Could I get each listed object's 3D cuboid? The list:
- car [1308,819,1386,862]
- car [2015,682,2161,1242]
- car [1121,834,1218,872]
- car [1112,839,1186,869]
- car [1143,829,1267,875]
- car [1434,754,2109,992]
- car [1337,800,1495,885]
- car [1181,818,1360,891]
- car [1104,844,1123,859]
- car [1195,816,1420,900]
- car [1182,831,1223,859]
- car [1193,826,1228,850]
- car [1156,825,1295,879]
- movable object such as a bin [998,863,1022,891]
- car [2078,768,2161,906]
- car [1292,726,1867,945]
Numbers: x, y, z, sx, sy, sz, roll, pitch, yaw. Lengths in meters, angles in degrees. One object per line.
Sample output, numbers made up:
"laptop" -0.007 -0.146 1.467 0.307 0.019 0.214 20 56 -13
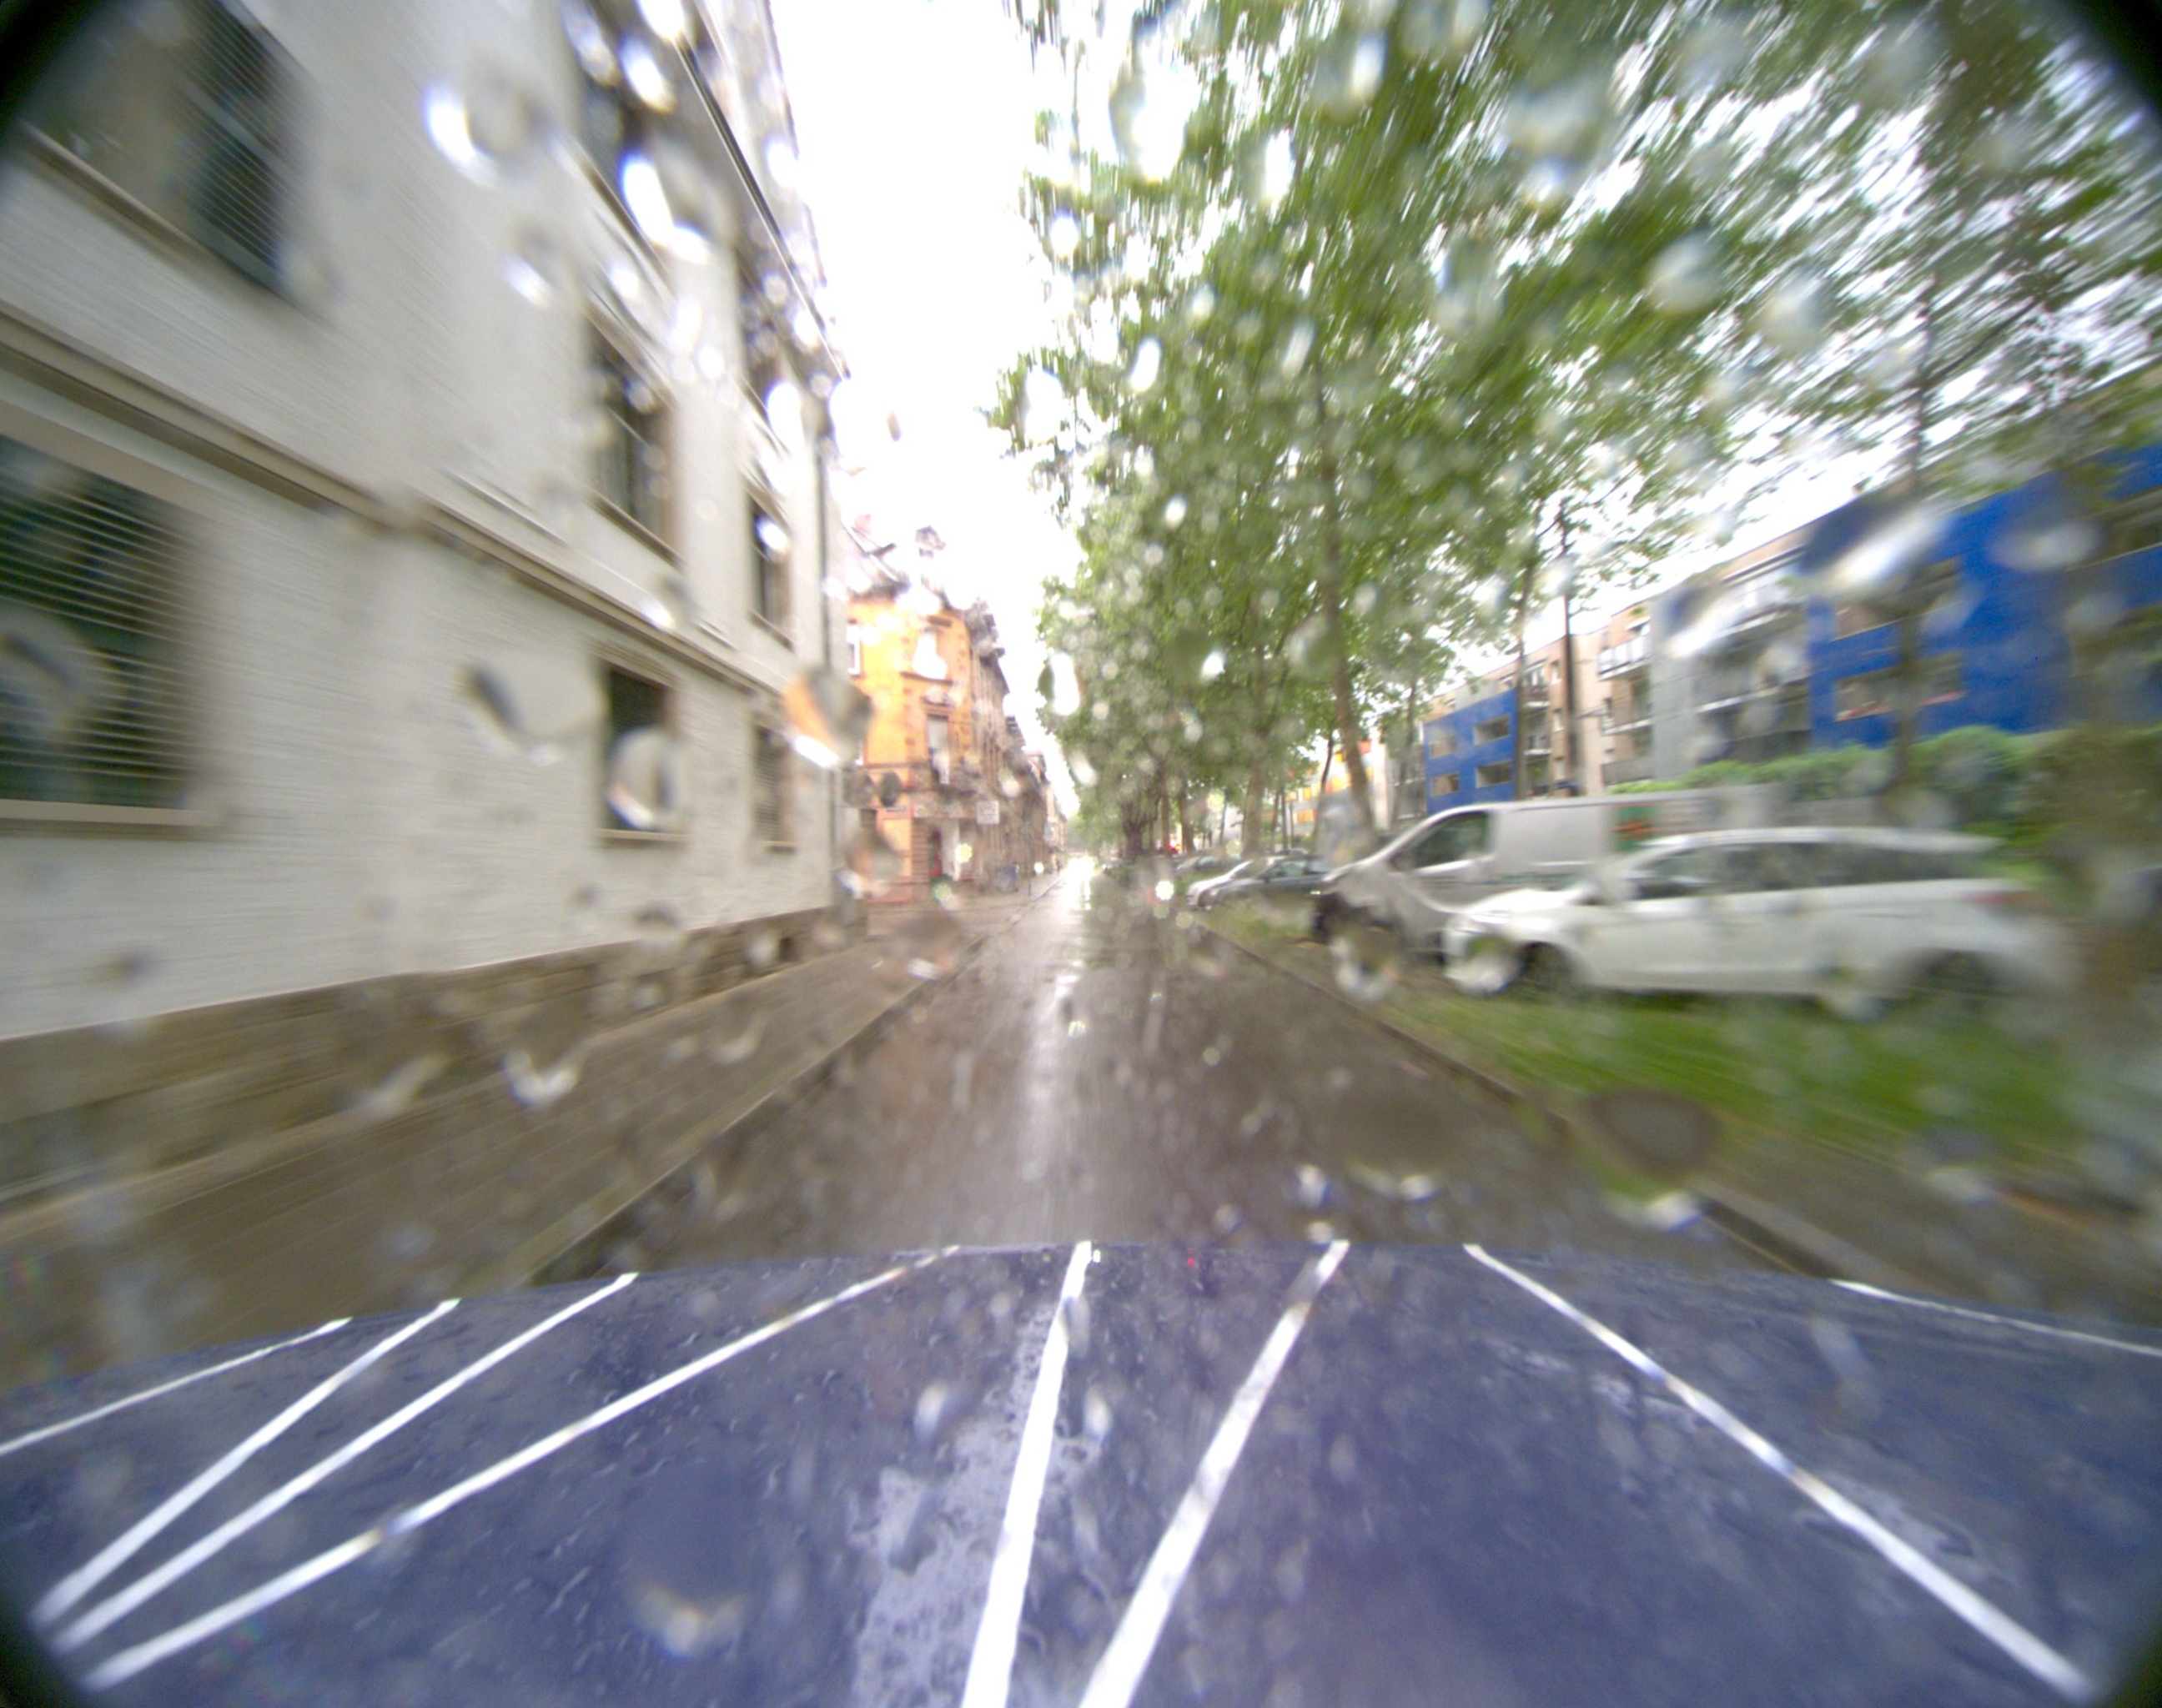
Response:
"car" 12.251 -0.594 35.296 1.909 1.730 4.420 -4 0 -1
"car" 4.671 0.221 0.645 4.549 1.473 1.778 -2 1 30
"car" 4.297 -0.040 37.006 4.221 1.471 1.746 -5 0 28
"car" 4.206 -0.006 46.952 4.056 1.528 1.838 -5 0 26
"car" 4.879 -0.054 30.029 4.406 1.636 1.875 -1 2 31
"car" 5.184 0.150 6.415 3.776 1.473 1.725 -2 1 31
"car" 9.397 -0.335 21.875 1.999 2.002 5.027 -5 1 -3
"car" 4.807 0.017 19.277 4.060 1.490 1.750 -5 0 24
"car" 3.564 -0.304 84.125 1.901 1.476 4.621 -5 0 0
"car" 4.844 0.098 16.334 4.306 1.428 1.750 -5 0 27
"car" 9.454 -0.670 59.732 2.043 1.988 5.157 -4 0 -2
"car" 12.468 -1.497 73.484 2.059 1.986 5.432 -6 1 -3
"car" 5.161 -0.075 27.153 4.407 1.650 1.933 -3 1 28
"movable object such as a bin" -3.485 1.111 37.372 1.024 1.294 1.367 -1 0 0
"car" 12.123 -0.234 6.301 1.999 1.412 4.271 -3 0 -2
"car" 5.402 -0.116 9.056 5.118 1.966 2.106 -2 1 31
